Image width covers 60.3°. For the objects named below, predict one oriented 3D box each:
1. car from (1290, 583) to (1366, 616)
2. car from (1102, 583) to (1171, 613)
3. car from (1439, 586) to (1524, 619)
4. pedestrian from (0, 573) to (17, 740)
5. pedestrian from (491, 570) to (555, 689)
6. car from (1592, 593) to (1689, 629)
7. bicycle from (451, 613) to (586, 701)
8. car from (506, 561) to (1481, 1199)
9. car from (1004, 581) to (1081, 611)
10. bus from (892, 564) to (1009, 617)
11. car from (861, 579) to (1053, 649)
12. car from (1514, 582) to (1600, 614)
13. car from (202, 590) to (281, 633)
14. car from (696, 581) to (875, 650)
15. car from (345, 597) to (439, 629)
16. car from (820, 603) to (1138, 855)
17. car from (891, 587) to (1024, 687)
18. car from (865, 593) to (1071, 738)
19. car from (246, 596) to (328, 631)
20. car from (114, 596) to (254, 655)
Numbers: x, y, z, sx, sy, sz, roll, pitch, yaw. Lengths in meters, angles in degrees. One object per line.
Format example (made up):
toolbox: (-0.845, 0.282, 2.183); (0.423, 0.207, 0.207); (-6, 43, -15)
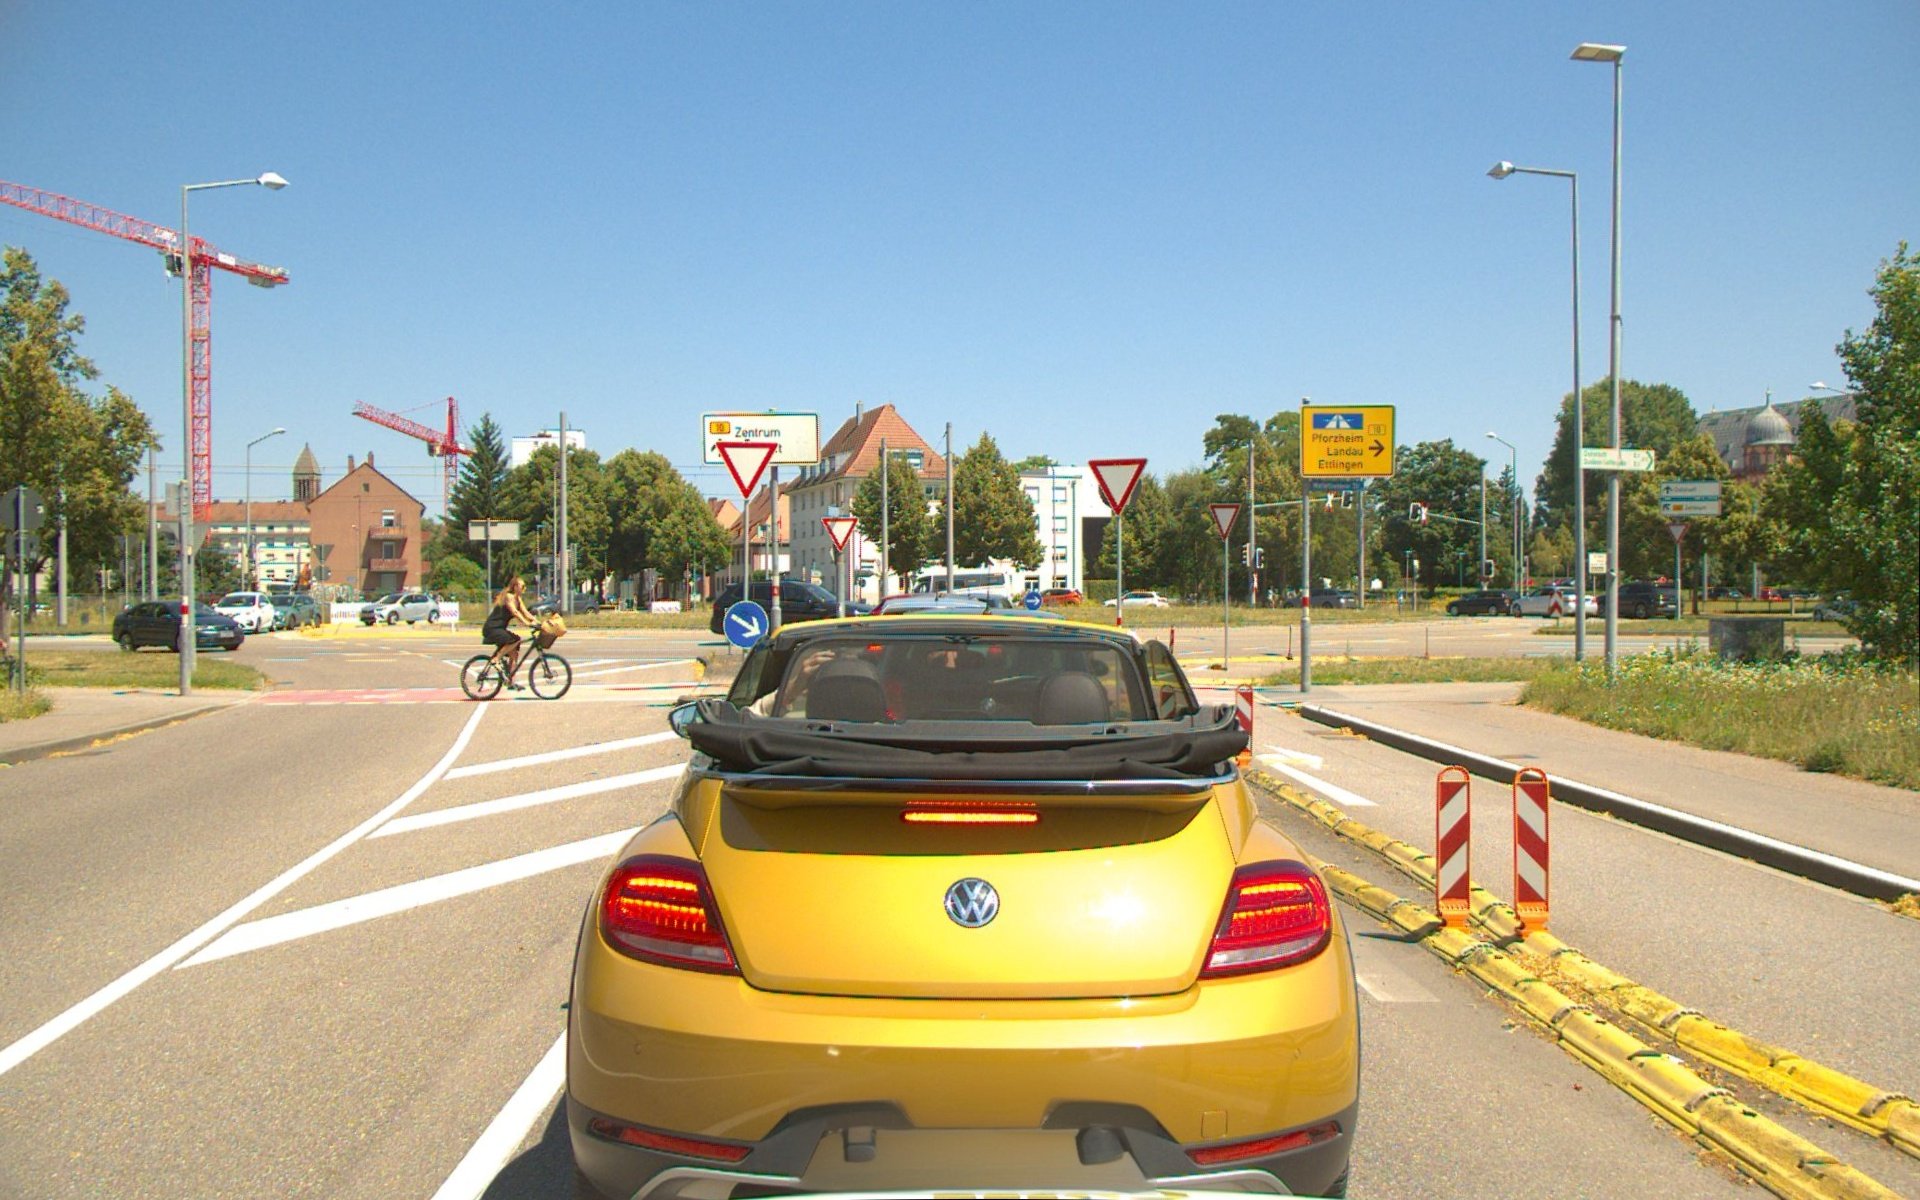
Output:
car: (20.564, -0.021, 92.488); (1.820, 1.766, 4.407); (1, 0, -26)
car: (10.981, -0.120, 102.735); (3.905, 1.803, 1.786); (1, 0, 21)
car: (29.412, 0.136, 93.320); (1.827, 1.766, 4.390); (1, 0, -35)
pedestrian: (-10.754, 0.612, 17.835); (0.623, 1.817, 0.968); (1, -1, -4)
pedestrian: (-6.443, 0.433, 24.405); (0.717, 1.721, 0.575); (1, -1, 9)
car: (32.284, 0.527, 78.560); (1.848, 1.642, 4.306); (1, 0, -20)
bicycle: (-6.507, 0.836, 24.402); (1.803, 1.253, 0.614); (-2, -1, 10)
car: (0.034, 0.708, 5.087); (1.729, 1.507, 4.257); (1, 0, -1)
car: (5.007, -0.255, 100.586); (4.337, 1.766, 1.849); (1, 0, 18)
bus: (-0.572, -0.592, 104.856); (7.098, 3.228, 2.263); (1, 0, 7)
car: (-0.022, 0.333, 39.340); (4.311, 1.554, 2.002); (1, 0, 8)
car: (27.506, -0.081, 76.355); (1.716, 1.395, 4.318); (1, 0, -12)
car: (-27.231, 0.426, 62.811); (1.742, 1.554, 3.866); (-1, 0, -7)
car: (-4.684, 0.408, 44.604); (4.312, 1.622, 2.003); (0, 6, 17)
car: (-26.585, 0.603, 77.542); (1.693, 1.427, 4.267); (1, 0, 26)
car: (0.080, 0.744, 11.650); (1.814, 1.389, 4.257); (-1, 0, -1)
car: (-0.069, 0.552, 27.504); (2.023, 1.506, 4.542); (-1, 0, -1)
car: (0.050, 0.659, 18.523); (2.023, 1.406, 4.257); (1, 0, -1)
car: (-27.811, 0.543, 68.485); (1.711, 1.395, 4.329); (1, 0, -2)
car: (-22.233, 0.694, 47.367); (4.254, 1.579, 1.722); (0, 1, 35)
